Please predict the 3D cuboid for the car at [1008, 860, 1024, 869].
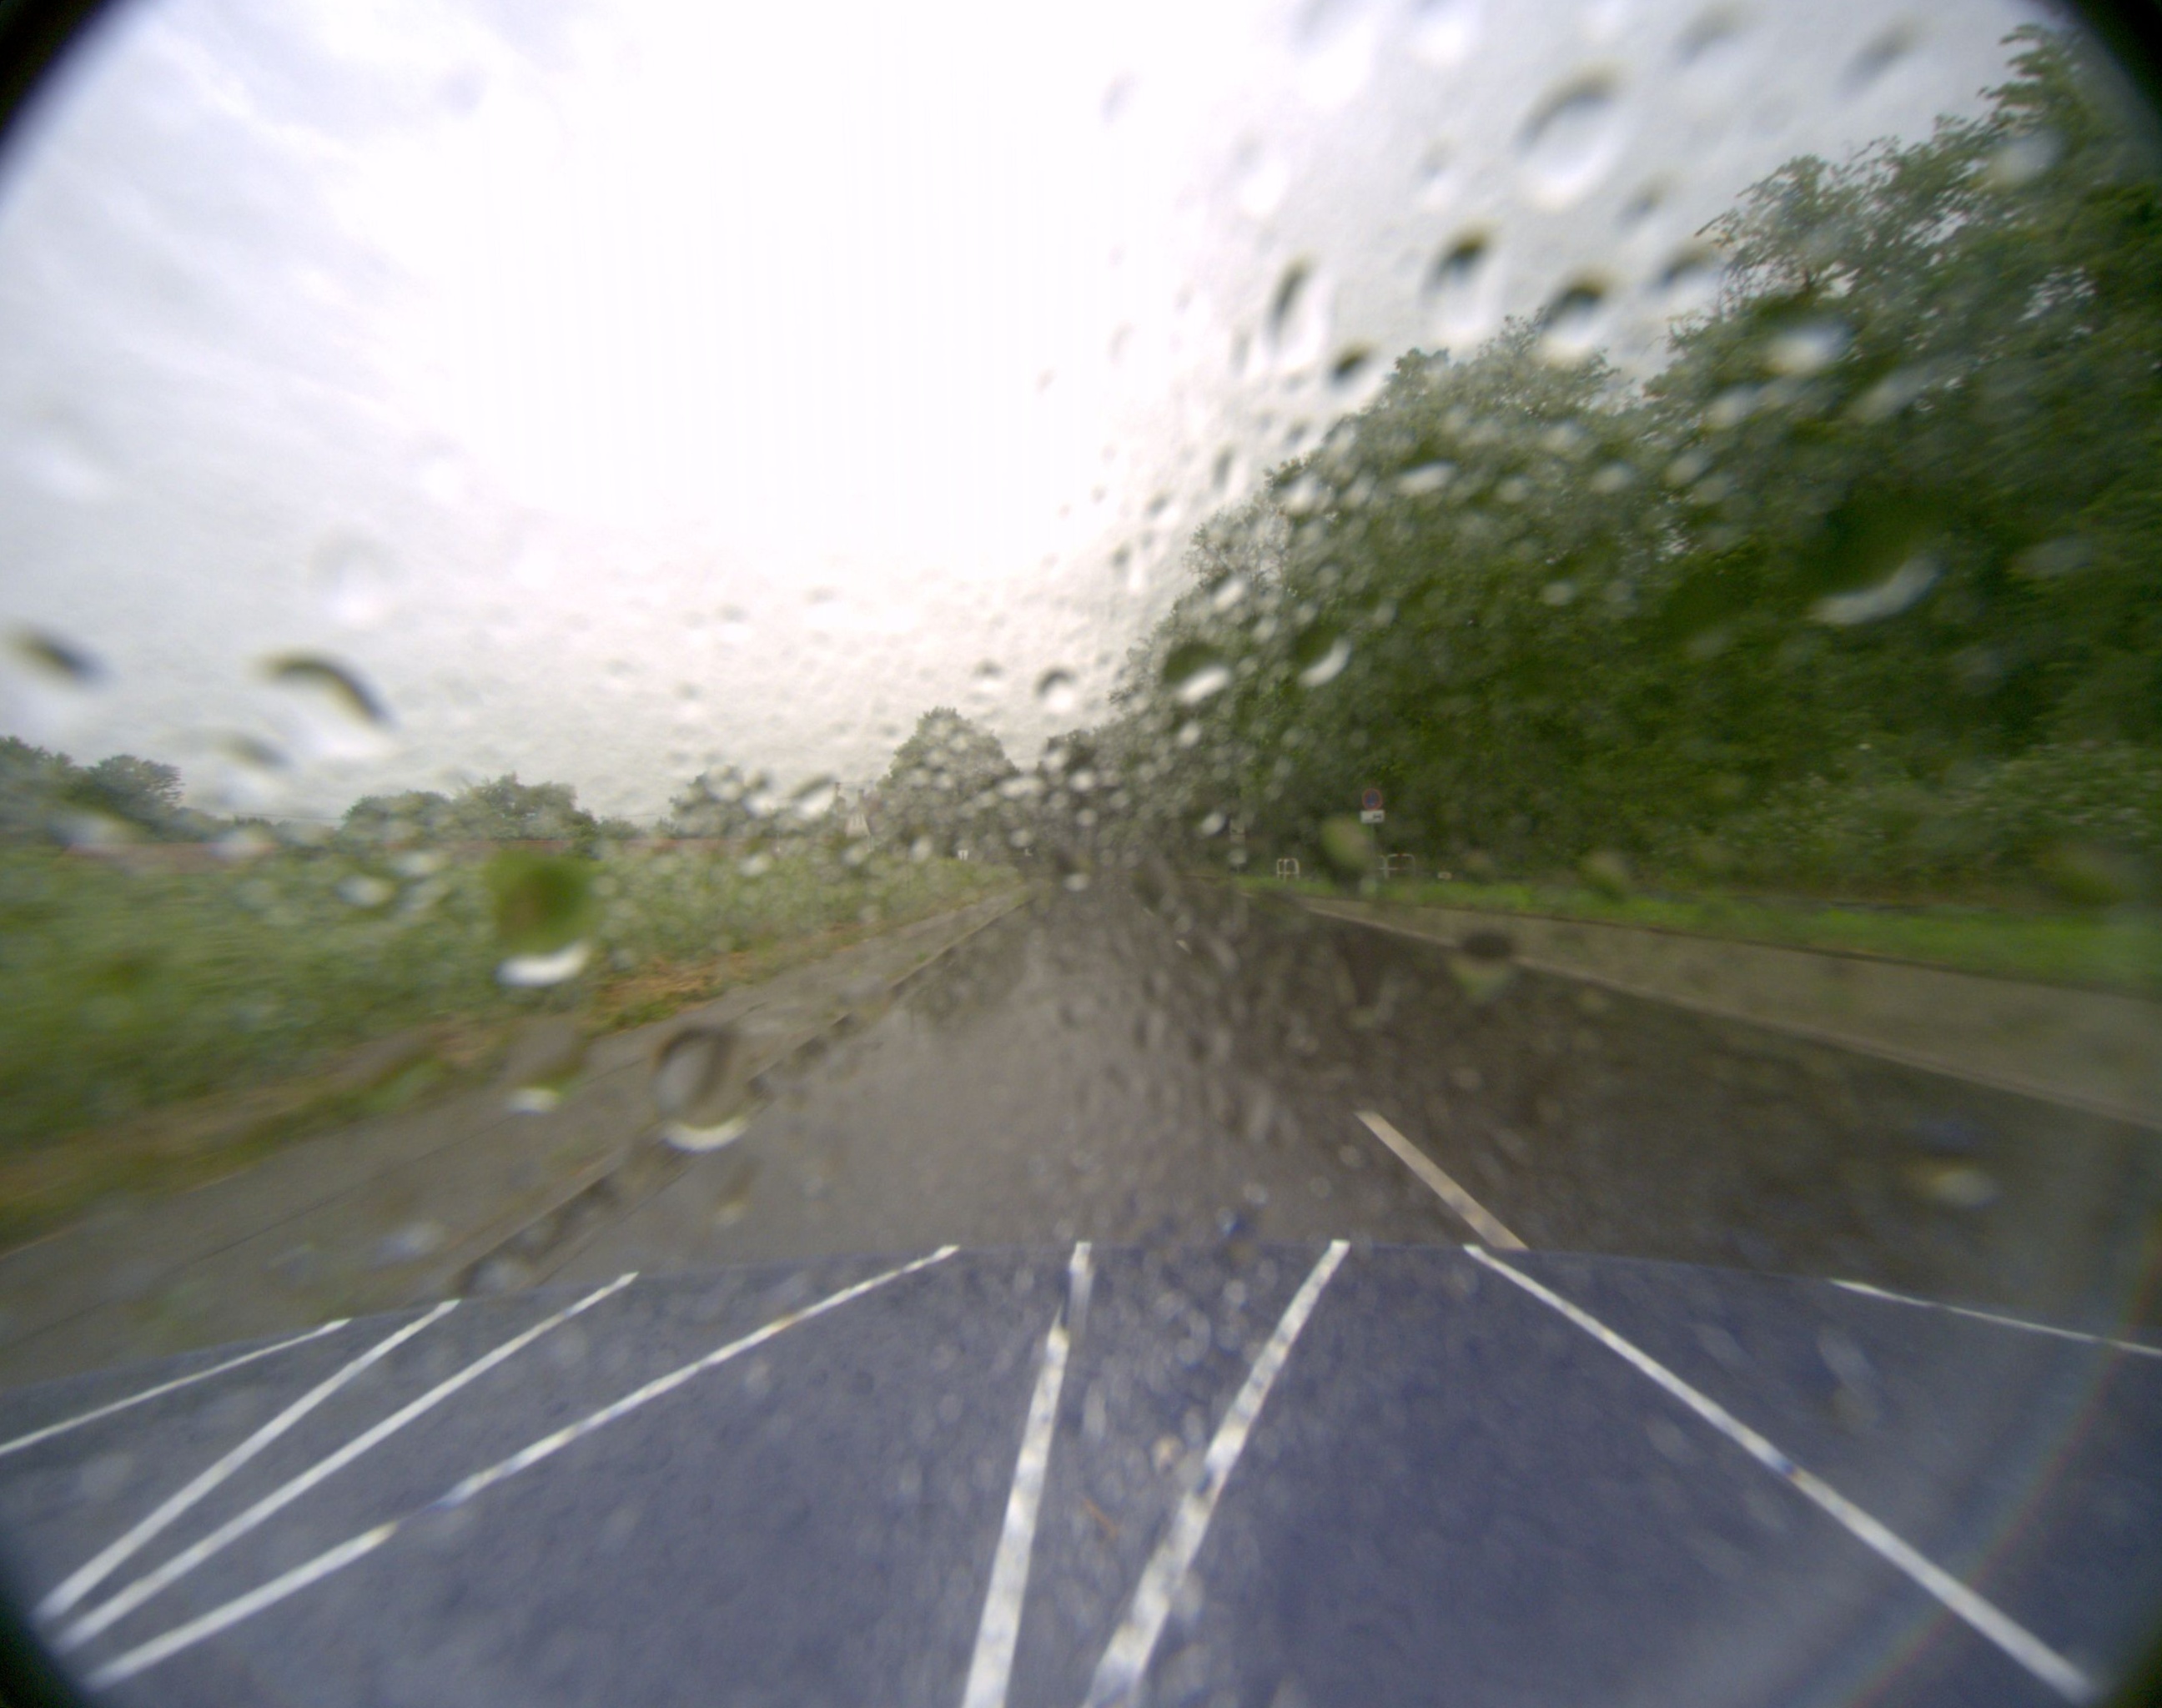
[{"bbox_3d":[-10.715,1.727,125.385,2.142,1.341,4.303,-3,0,-10],"label":"car"}]
